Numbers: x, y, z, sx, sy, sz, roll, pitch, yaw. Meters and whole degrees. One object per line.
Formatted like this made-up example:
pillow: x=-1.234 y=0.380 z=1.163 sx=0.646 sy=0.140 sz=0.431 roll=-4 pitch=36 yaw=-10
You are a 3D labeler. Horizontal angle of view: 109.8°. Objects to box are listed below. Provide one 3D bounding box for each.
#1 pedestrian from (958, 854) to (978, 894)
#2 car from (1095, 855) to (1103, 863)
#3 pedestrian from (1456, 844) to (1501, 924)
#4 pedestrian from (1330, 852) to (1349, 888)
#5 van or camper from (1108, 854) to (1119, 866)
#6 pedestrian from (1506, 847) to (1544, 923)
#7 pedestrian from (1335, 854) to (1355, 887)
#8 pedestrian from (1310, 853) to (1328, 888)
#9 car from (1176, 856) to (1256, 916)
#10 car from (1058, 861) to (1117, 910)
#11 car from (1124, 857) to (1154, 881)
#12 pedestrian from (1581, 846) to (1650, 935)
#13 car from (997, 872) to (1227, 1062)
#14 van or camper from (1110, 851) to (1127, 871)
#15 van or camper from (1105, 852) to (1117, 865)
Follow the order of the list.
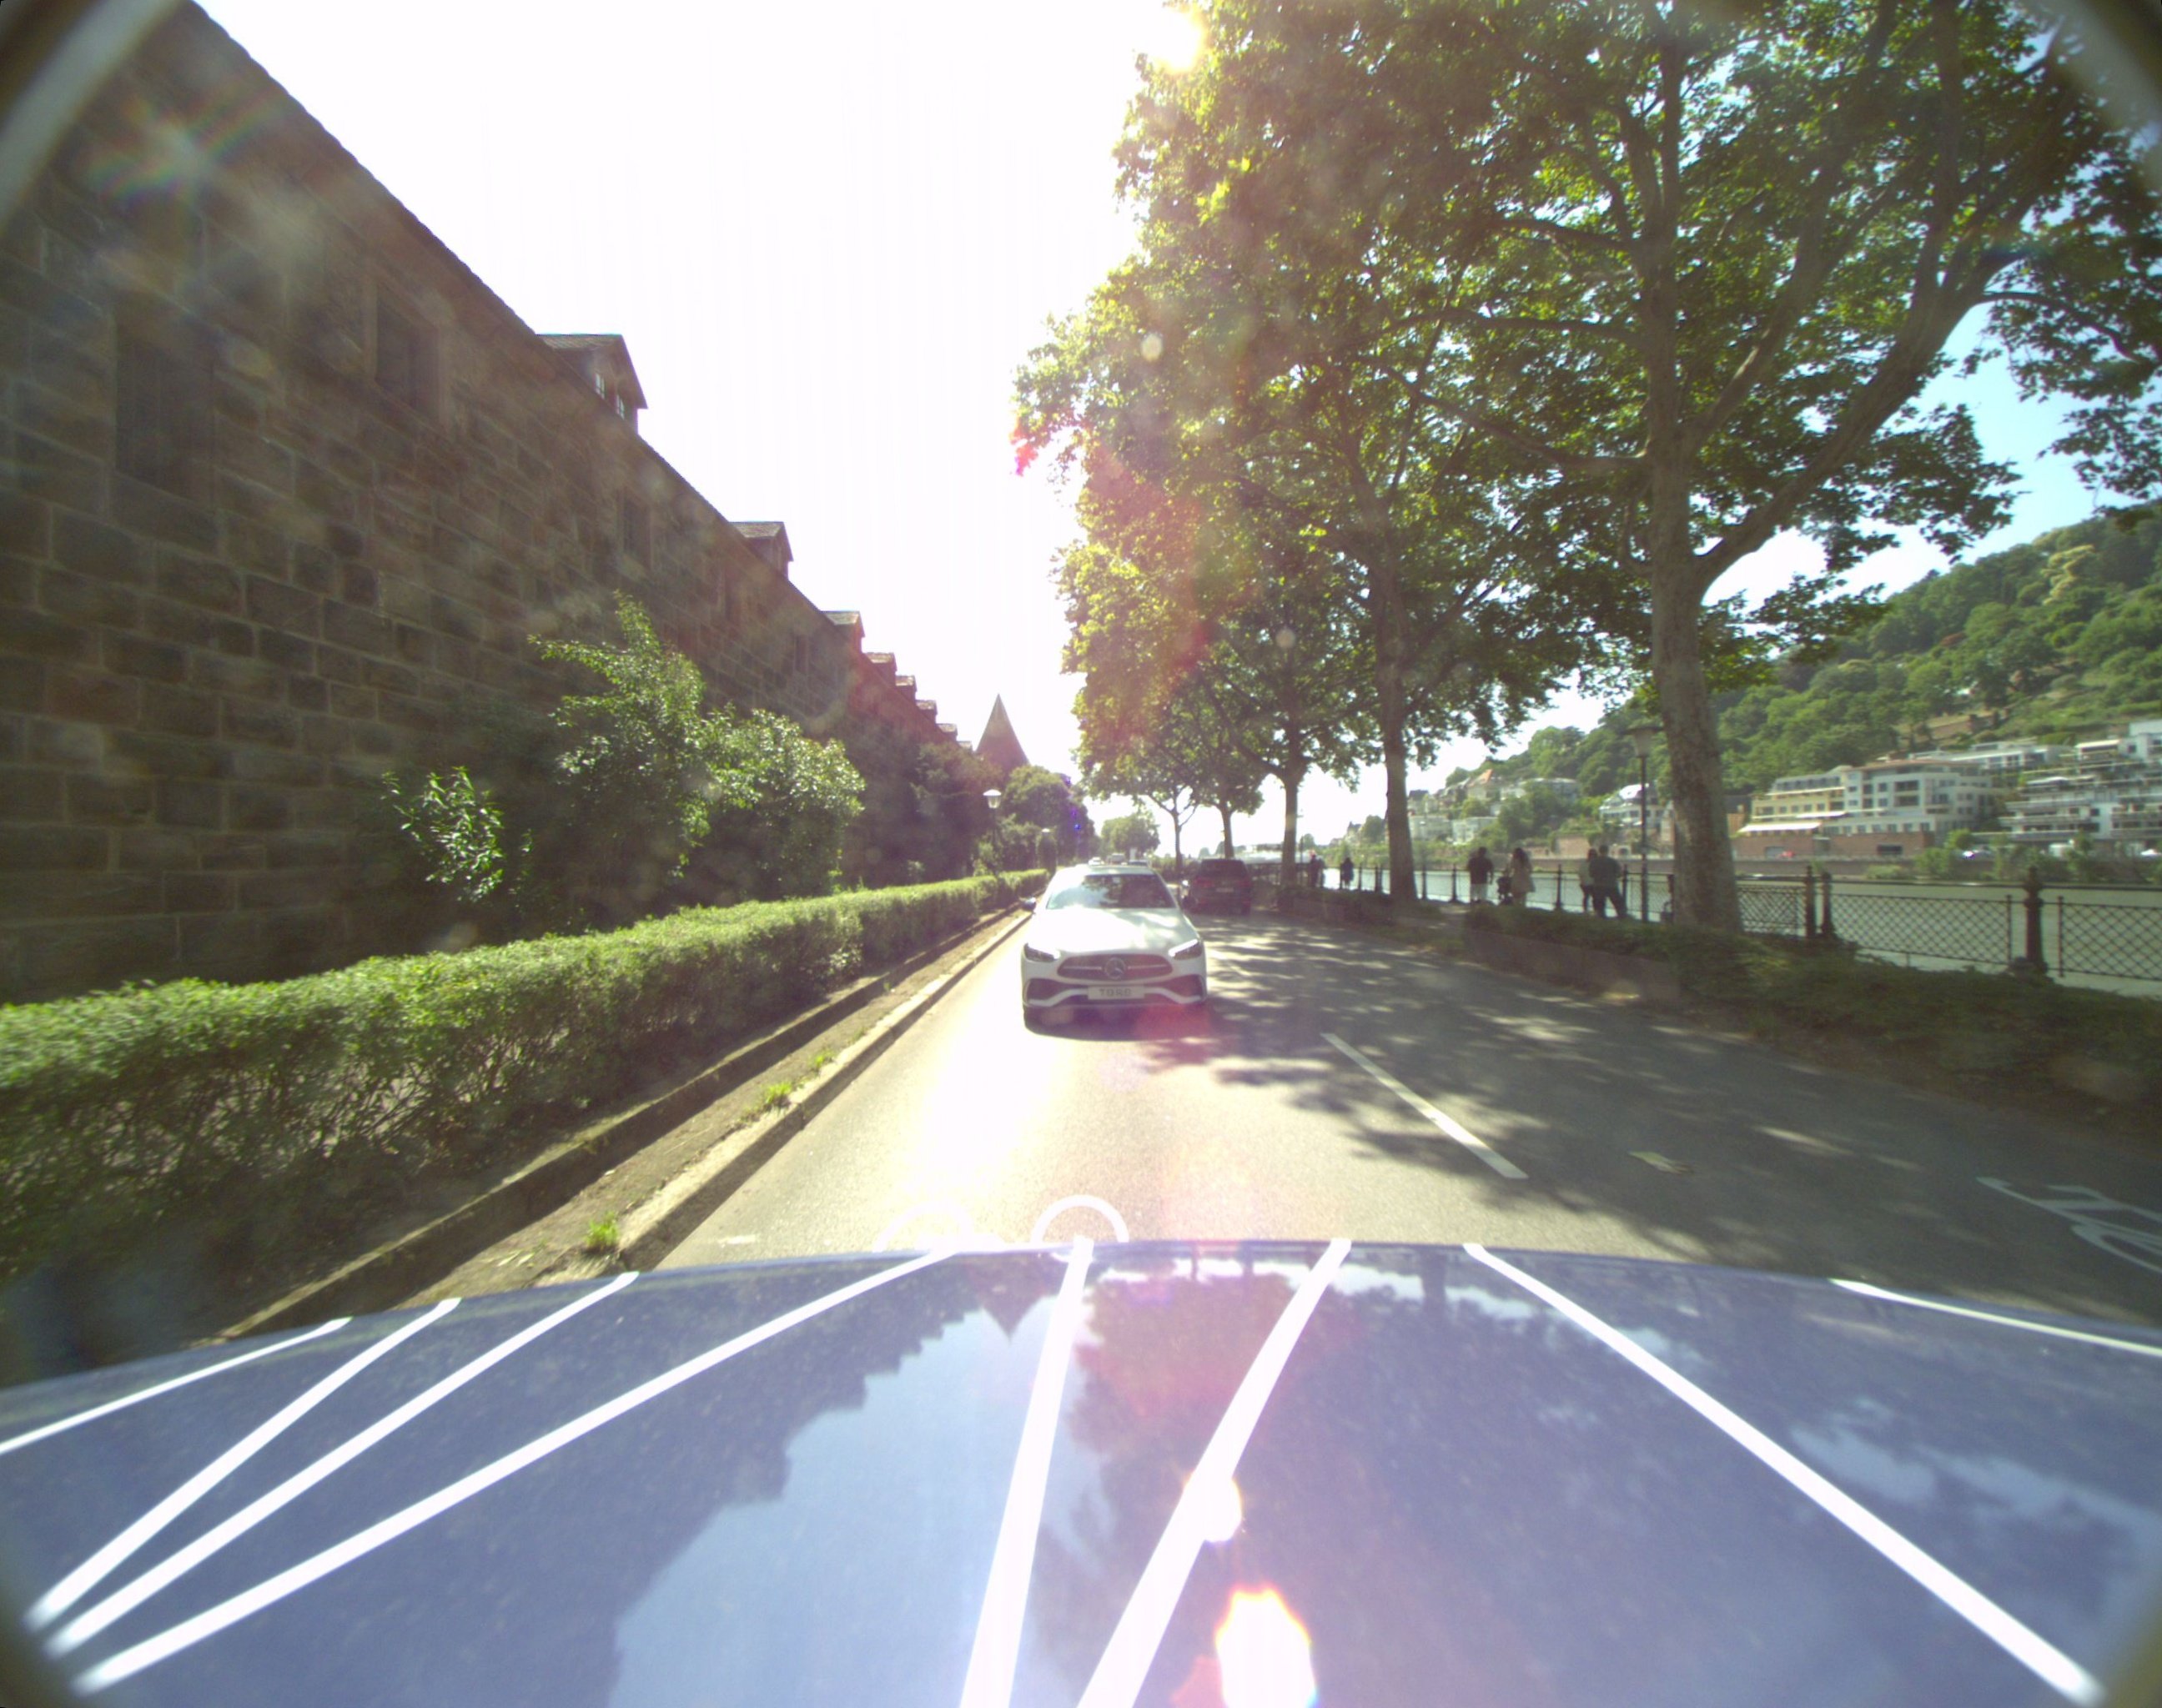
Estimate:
pedestrian: x=-4.743 y=0.821 z=31.895 sx=0.700 sy=1.643 sz=0.705 roll=1 pitch=0 yaw=3
car: x=4.446 y=1.352 z=191.048 sx=1.923 sy=1.975 sz=4.000 roll=0 pitch=0 yaw=-1
pedestrian: x=9.411 y=0.694 z=18.012 sx=0.642 sy=1.859 sz=0.806 roll=1 pitch=0 yaw=2
pedestrian: x=12.912 y=0.779 z=37.962 sx=0.705 sy=1.786 sz=0.705 roll=-1 pitch=1 yaw=3
van or camper: x=7.640 y=1.448 z=176.722 sx=2.328 sy=2.646 sz=6.264 roll=1 pitch=0 yaw=1
pedestrian: x=10.410 y=0.713 z=17.830 sx=0.518 sy=1.758 sz=0.592 roll=1 pitch=0 yaw=2
pedestrian: x=12.665 y=0.789 z=36.475 sx=0.705 sy=1.594 sz=0.705 roll=-1 pitch=1 yaw=3
pedestrian: x=11.836 y=0.821 z=37.837 sx=0.705 sy=1.721 sz=0.705 roll=-1 pitch=1 yaw=3
car: x=4.018 y=0.891 z=23.163 sx=1.767 sy=1.638 sz=4.090 roll=1 pitch=0 yaw=1
car: x=0.257 y=1.033 z=26.267 sx=1.854 sy=1.543 sz=3.849 roll=0 pitch=0 yaw=1
car: x=4.276 y=1.090 z=56.159 sx=1.881 sy=1.688 sz=4.259 roll=1 pitch=0 yaw=0
pedestrian: x=10.761 y=0.715 z=15.326 sx=0.695 sy=1.707 sz=0.874 roll=-3 pitch=0 yaw=0
car: x=0.285 y=0.969 z=8.350 sx=1.829 sy=1.418 sz=4.359 roll=-2 pitch=0 yaw=1
van or camper: x=5.052 y=0.933 z=102.793 sx=1.965 sy=2.552 sz=5.841 roll=1 pitch=0 yaw=1
van or camper: x=6.461 y=0.929 z=162.332 sx=2.328 sy=2.646 sz=6.264 roll=1 pitch=0 yaw=1
